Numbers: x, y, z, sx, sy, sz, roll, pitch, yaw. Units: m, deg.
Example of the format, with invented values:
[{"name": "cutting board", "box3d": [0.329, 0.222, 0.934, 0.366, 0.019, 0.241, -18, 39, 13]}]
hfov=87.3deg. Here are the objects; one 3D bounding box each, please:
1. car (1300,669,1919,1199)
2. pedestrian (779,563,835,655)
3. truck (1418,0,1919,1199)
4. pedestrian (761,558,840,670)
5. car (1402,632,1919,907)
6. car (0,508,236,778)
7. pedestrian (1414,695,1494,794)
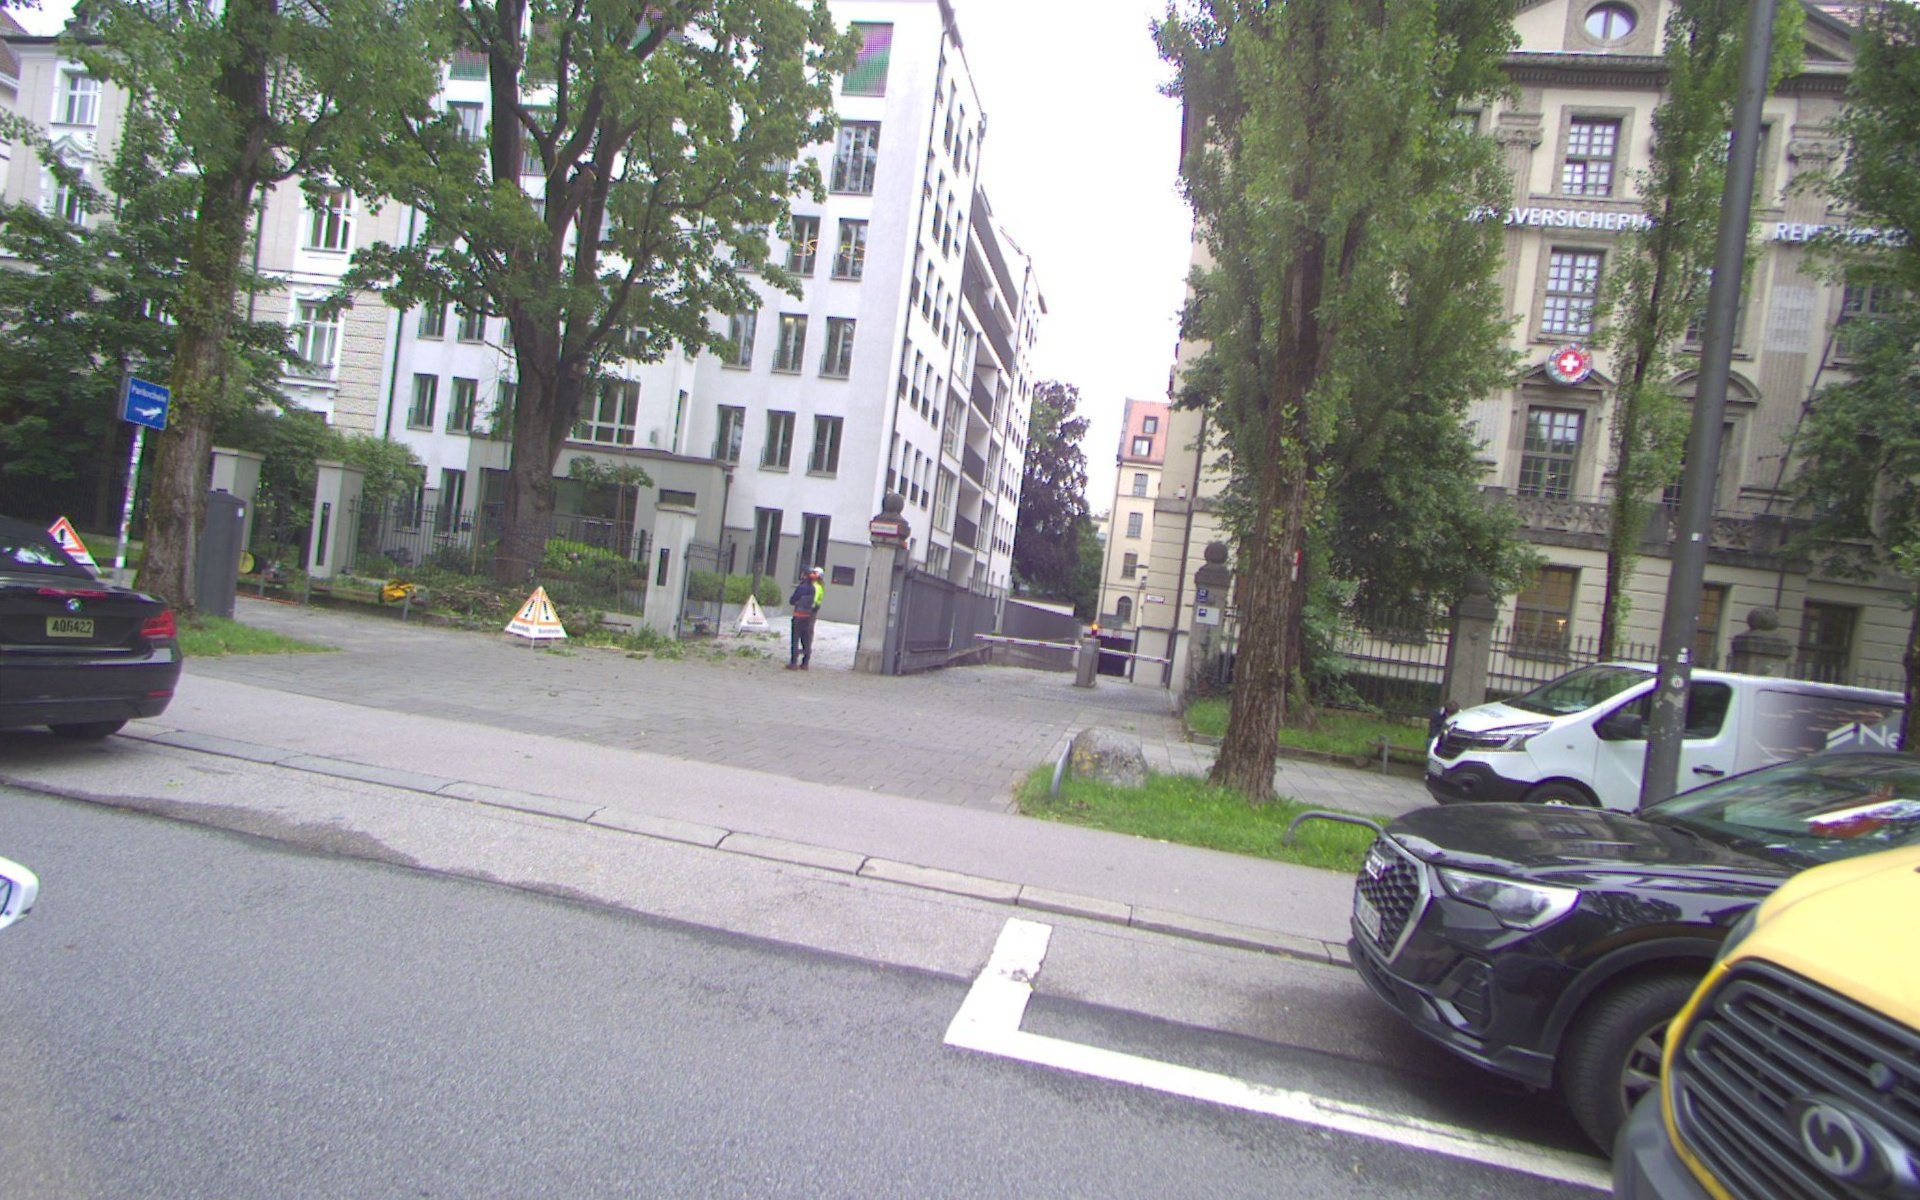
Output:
[{"name": "car", "box3d": [3.696, 1.331, 3.779, 4.241, 1.513, 1.732, 7, 0, 11]}, {"name": "pedestrian", "box3d": [-3.323, 0.197, 21.929, 0.819, 1.877, 0.773, 7, 1, 5]}, {"name": "truck", "box3d": [4.752, 0.670, 0.992, 7.193, 2.933, 2.337, 7, 0, 10]}, {"name": "pedestrian", "box3d": [-2.891, 0.262, 18.237, 0.762, 1.889, 0.936, 8, 1, 39]}, {"name": "car", "box3d": [7.610, 1.654, 10.178, 5.222, 1.948, 2.002, 7, 0, 10]}, {"name": "car", "box3d": [-6.768, 0.010, 5.940, 3.924, 1.370, 1.754, 8, -1, 12]}, {"name": "pedestrian", "box3d": [6.615, 1.921, 13.504, 0.713, 1.155, 0.703, 7, 0, 16]}]
